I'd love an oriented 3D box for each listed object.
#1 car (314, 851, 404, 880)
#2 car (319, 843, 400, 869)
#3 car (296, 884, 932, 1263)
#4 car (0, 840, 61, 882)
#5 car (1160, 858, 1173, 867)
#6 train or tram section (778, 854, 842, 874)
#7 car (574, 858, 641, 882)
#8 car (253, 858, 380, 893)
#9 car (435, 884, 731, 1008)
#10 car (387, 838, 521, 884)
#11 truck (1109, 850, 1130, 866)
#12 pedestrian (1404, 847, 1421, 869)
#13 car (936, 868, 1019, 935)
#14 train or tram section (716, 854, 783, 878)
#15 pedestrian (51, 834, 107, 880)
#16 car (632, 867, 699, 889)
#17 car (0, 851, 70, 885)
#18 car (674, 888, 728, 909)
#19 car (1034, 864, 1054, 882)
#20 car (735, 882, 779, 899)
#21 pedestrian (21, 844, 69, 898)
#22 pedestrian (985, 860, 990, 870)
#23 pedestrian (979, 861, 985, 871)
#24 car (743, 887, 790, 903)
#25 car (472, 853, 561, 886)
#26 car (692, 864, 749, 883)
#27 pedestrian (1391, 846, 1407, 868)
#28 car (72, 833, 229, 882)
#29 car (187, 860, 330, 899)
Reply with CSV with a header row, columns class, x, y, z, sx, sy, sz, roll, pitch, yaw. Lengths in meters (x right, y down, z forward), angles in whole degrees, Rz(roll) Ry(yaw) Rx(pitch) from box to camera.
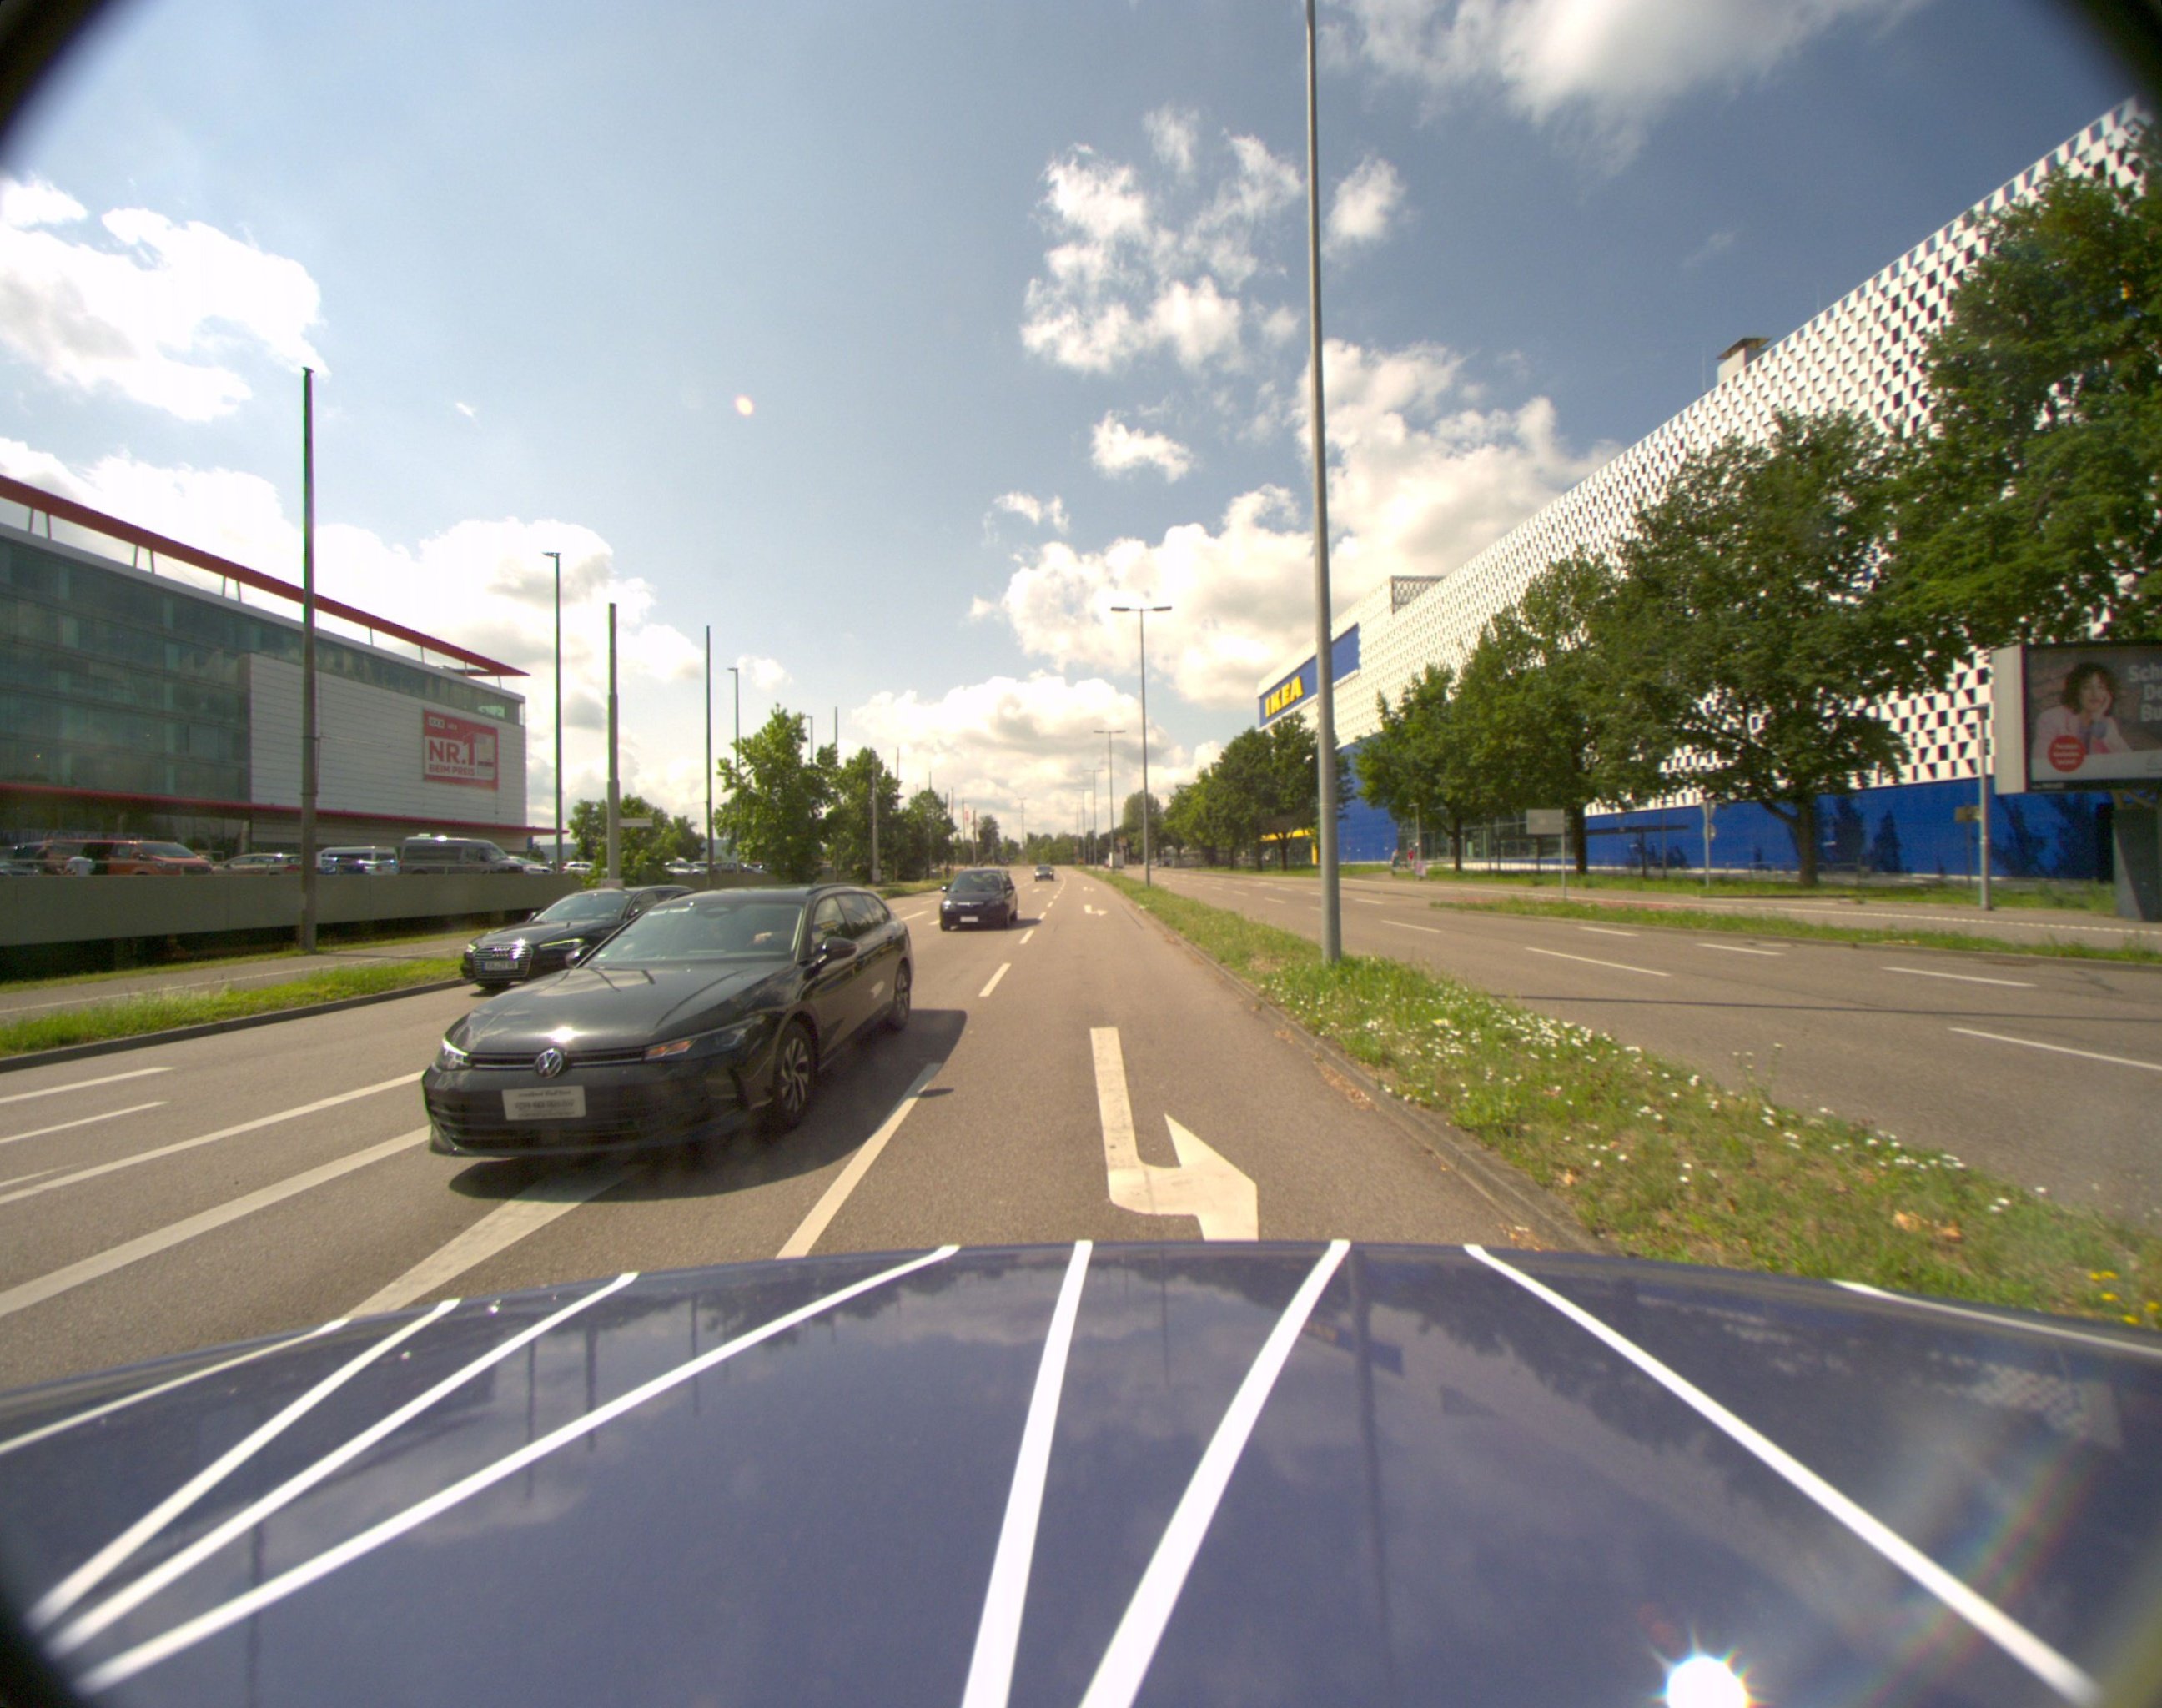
class,x,y,z,sx,sy,sz,roll,pitch,yaw
car,-48.176,0.733,50.759,3.997,1.740,1.916,-3,1,-1
car,-53.120,0.143,56.012,3.997,1.740,1.916,-3,1,-1
car,-2.627,1.098,6.051,1.813,1.469,5.204,-2,0,0
car,-47.785,0.349,33.089,3.997,1.740,1.916,-3,1,-1
car,16.971,1.705,151.138,1.941,1.674,4.000,-3,0,0
train or tram section,-61.199,2.256,171.628,13.099,4.346,3.731,0,1,-2
car,-39.127,1.335,62.875,4.421,1.754,1.559,-3,1,-3
car,-38.707,1.069,38.563,4.420,1.596,1.955,-2,0,1
car,-7.907,1.355,12.749,1.778,1.469,4.679,-2,0,1
car,-35.143,0.351,42.684,5.796,2.270,1.749,-3,1,-3
truck,6.759,0.661,133.915,2.973,2.736,5.783,-3,0,-2
pedestrian,27.266,0.327,62.524,0.854,1.718,1.165,-3,1,2
car,-2.607,1.154,20.051,1.606,1.521,4.270,-1,-1,-1
train or tram section,-74.485,2.668,171.053,13.099,4.534,3.731,-3,1,-2
pedestrian,-38.766,0.111,29.397,1.021,1.732,0.706,-3,1,-14
car,-34.448,1.992,63.073,4.420,1.596,1.955,-2,0,-1
car,-53.422,0.744,37.498,4.420,1.596,1.955,-2,0,1
car,-37.411,4.344,74.850,4.421,1.754,1.559,-3,1,-3
car,-3.345,1.698,69.441,1.606,1.521,4.270,-1,-1,-1
car,-38.053,4.284,89.421,4.421,1.754,1.559,-3,1,-3
pedestrian,-39.474,0.627,28.960,0.913,2.002,0.705,-3,1,-45
pedestrian,-16.788,2.034,136.455,0.527,1.803,0.676,-3,1,-30
pedestrian,-17.791,2.159,136.290,0.705,1.803,0.544,-3,1,-36
car,-35.707,4.668,86.352,4.420,1.596,1.955,-2,0,-1
car,-34.346,0.954,46.288,3.997,1.783,1.749,-3,1,1
car,-34.438,1.844,72.688,4.420,1.596,1.955,-2,0,-1
pedestrian,26.168,0.228,62.537,0.854,1.718,1.165,-3,1,2
car,-37.779,0.132,30.906,4.184,1.740,1.917,-3,1,4
car,-38.404,1.156,35.568,4.420,1.596,1.955,-2,0,-1
